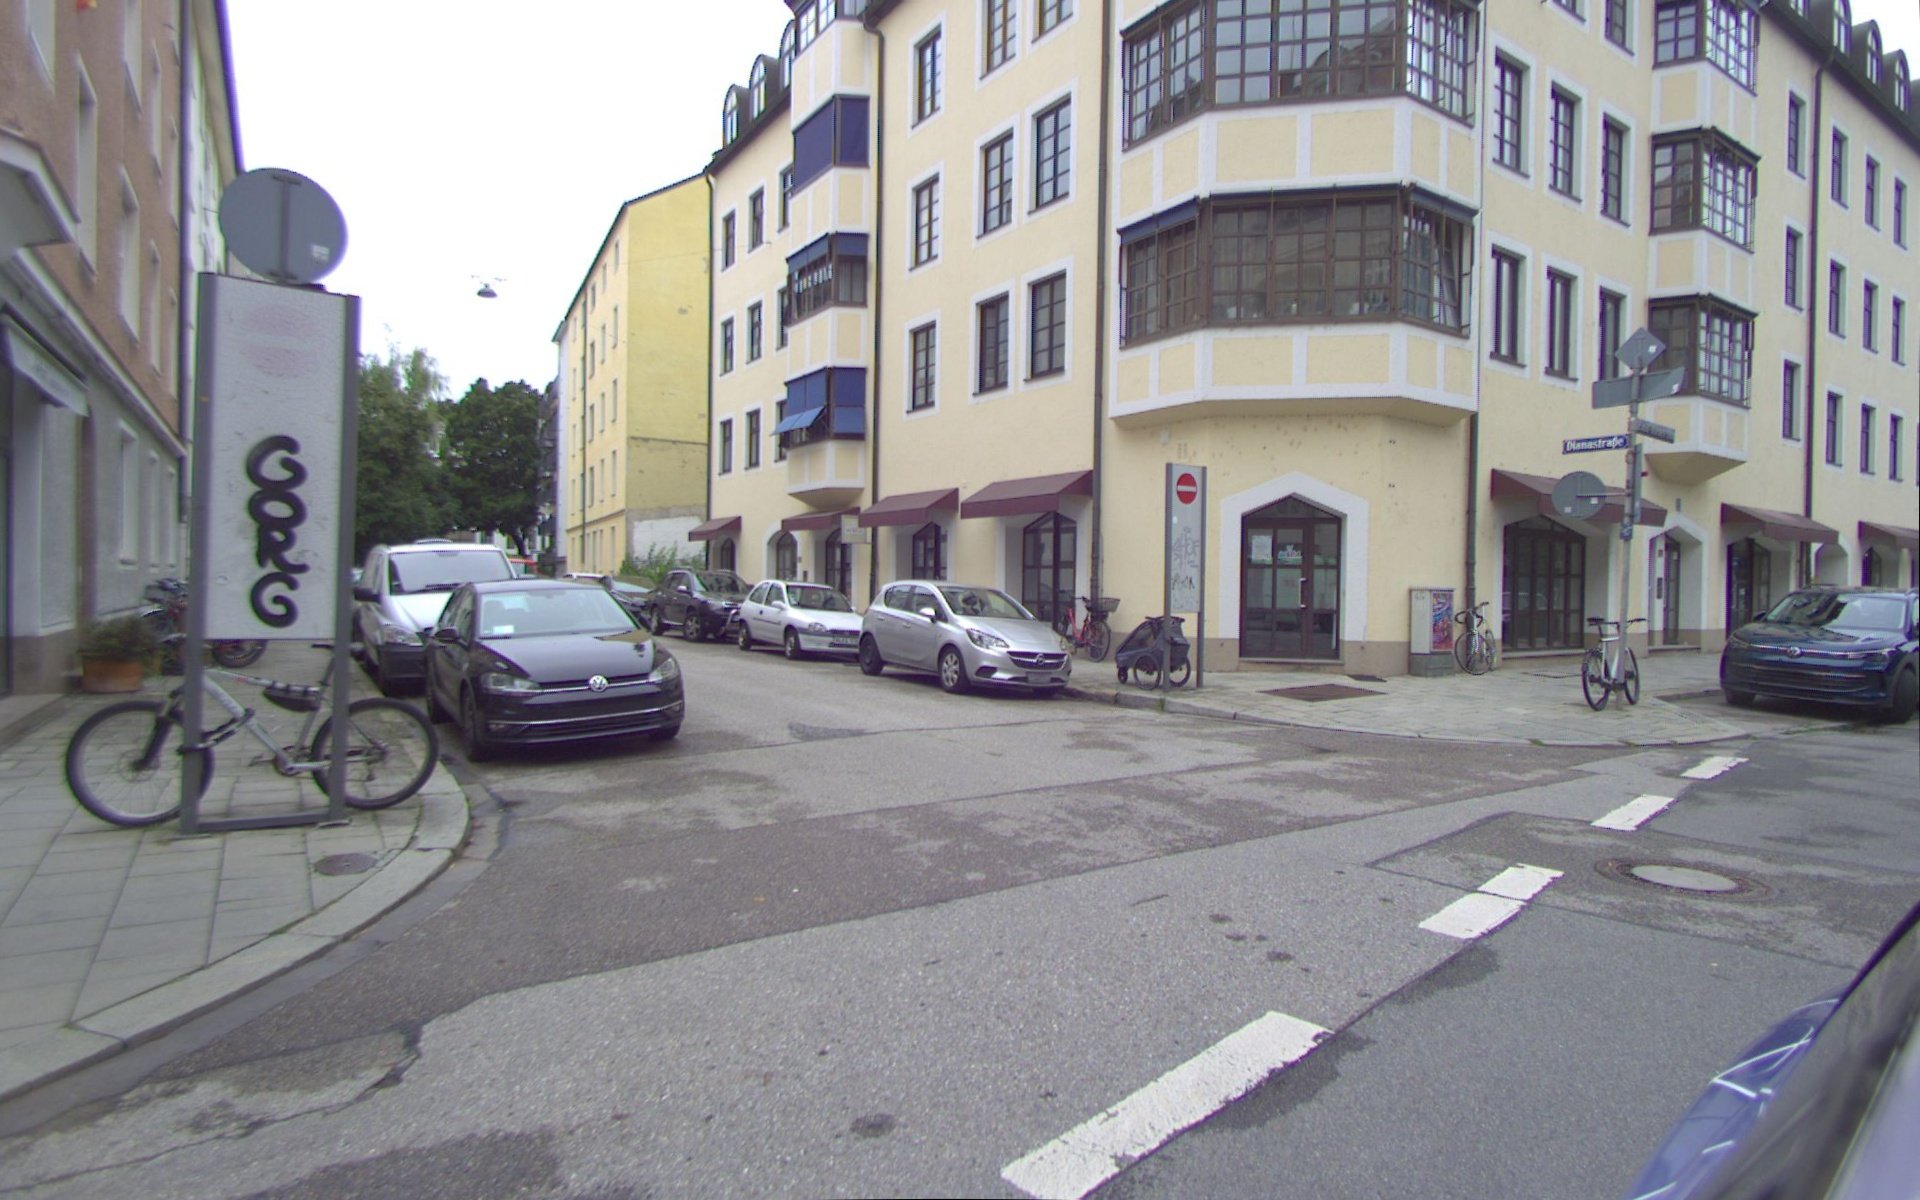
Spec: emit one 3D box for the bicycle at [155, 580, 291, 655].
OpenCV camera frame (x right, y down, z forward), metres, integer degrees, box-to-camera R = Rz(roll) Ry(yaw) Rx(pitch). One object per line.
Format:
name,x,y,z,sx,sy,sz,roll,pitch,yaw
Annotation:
bicycle,-12.087,0.258,16.651,0.416,1.158,1.775,2,2,38

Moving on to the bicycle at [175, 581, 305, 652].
bicycle,-12.295,0.257,17.337,0.416,1.158,1.775,2,2,38

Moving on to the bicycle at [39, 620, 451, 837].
bicycle,-3.845,0.647,5.596,1.767,1.017,0.498,2,2,-33

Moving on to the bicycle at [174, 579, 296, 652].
bicycle,-13.274,0.258,18.572,0.416,1.275,1.775,2,2,38

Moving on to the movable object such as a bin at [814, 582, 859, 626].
movable object such as a bin,-3.081,0.086,25.218,0.671,1.026,1.127,0,2,-34

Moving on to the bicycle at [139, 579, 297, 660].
bicycle,-11.253,0.259,15.405,0.416,1.158,1.902,2,2,38

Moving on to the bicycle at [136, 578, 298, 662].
bicycle,-10.933,0.258,14.961,0.416,1.158,1.902,2,2,38

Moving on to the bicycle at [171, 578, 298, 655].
bicycle,-12.663,0.257,17.711,0.416,1.275,1.775,2,2,38

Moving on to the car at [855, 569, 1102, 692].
car,0.123,0.360,14.311,1.716,1.458,3.751,3,0,-31

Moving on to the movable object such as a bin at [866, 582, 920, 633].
movable object such as a bin,-1.534,0.149,22.922,0.753,1.094,1.127,0,2,-34

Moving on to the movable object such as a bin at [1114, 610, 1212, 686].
movable object such as a bin,2.705,0.623,13.543,0.671,0.911,1.127,0,2,-34

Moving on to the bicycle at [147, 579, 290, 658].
bicycle,-11.591,0.259,15.874,0.416,1.158,1.775,2,2,38

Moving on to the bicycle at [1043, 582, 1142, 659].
bicycle,2.211,0.314,17.157,0.505,1.201,1.907,0,1,-34

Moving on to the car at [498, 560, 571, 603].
car,-16.957,-0.737,40.210,1.940,1.588,4.434,0,1,-33

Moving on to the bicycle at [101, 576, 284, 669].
bicycle,-10.210,0.260,13.529,0.472,1.158,1.902,2,2,38

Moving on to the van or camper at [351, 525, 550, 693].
van or camper,-7.349,0.003,14.310,1.923,1.942,4.919,-2,3,-33

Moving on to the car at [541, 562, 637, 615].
car,-12.108,-0.399,32.874,1.940,1.588,4.433,0,1,-34

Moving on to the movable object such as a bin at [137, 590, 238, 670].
movable object such as a bin,-9.913,0.369,12.989,0.952,0.962,0.733,1,1,-42

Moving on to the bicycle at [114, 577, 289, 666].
bicycle,-10.465,0.260,14.031,0.472,1.158,1.902,2,2,38

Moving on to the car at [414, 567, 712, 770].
car,-3.951,0.446,9.659,1.856,1.506,3.887,0,2,-34

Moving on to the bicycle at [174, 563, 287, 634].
bicycle,-15.293,-0.043,21.272,0.416,1.426,1.900,2,2,38

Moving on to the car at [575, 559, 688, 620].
car,-9.478,-0.328,28.999,1.940,1.588,4.433,0,1,-34

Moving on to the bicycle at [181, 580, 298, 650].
bicycle,-13.644,0.257,19.205,0.416,1.275,1.775,2,2,38

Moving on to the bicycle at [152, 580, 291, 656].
bicycle,-11.807,0.258,16.234,0.416,1.158,1.775,2,2,38

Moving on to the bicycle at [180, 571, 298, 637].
bicycle,-14.498,0.062,20.408,0.416,1.275,1.900,2,2,38

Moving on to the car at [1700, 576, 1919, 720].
car,12.196,0.530,13.765,4.411,1.643,2.114,0,1,-35

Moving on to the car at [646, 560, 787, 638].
car,-5.660,-0.087,23.156,1.946,1.604,4.032,0,2,-32

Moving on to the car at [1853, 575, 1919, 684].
car,16.572,0.484,16.472,4.082,1.607,1.822,-1,6,-31

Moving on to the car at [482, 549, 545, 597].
car,-19.698,-1.191,44.546,2.024,2.003,4.436,0,1,-31

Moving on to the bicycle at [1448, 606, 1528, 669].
bicycle,8.365,0.581,16.005,1.662,0.912,0.263,-1,6,-33

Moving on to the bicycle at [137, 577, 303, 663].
bicycle,-10.640,0.258,14.628,0.416,1.158,1.902,2,2,38

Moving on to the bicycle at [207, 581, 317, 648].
bicycle,-13.916,0.254,20.219,0.416,1.275,1.775,2,2,38

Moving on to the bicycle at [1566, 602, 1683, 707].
bicycle,8.236,0.640,12.510,2.013,1.173,0.431,-1,2,-34

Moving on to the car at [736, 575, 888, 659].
car,-2.861,0.245,18.987,1.607,1.353,3.460,0,3,-31
